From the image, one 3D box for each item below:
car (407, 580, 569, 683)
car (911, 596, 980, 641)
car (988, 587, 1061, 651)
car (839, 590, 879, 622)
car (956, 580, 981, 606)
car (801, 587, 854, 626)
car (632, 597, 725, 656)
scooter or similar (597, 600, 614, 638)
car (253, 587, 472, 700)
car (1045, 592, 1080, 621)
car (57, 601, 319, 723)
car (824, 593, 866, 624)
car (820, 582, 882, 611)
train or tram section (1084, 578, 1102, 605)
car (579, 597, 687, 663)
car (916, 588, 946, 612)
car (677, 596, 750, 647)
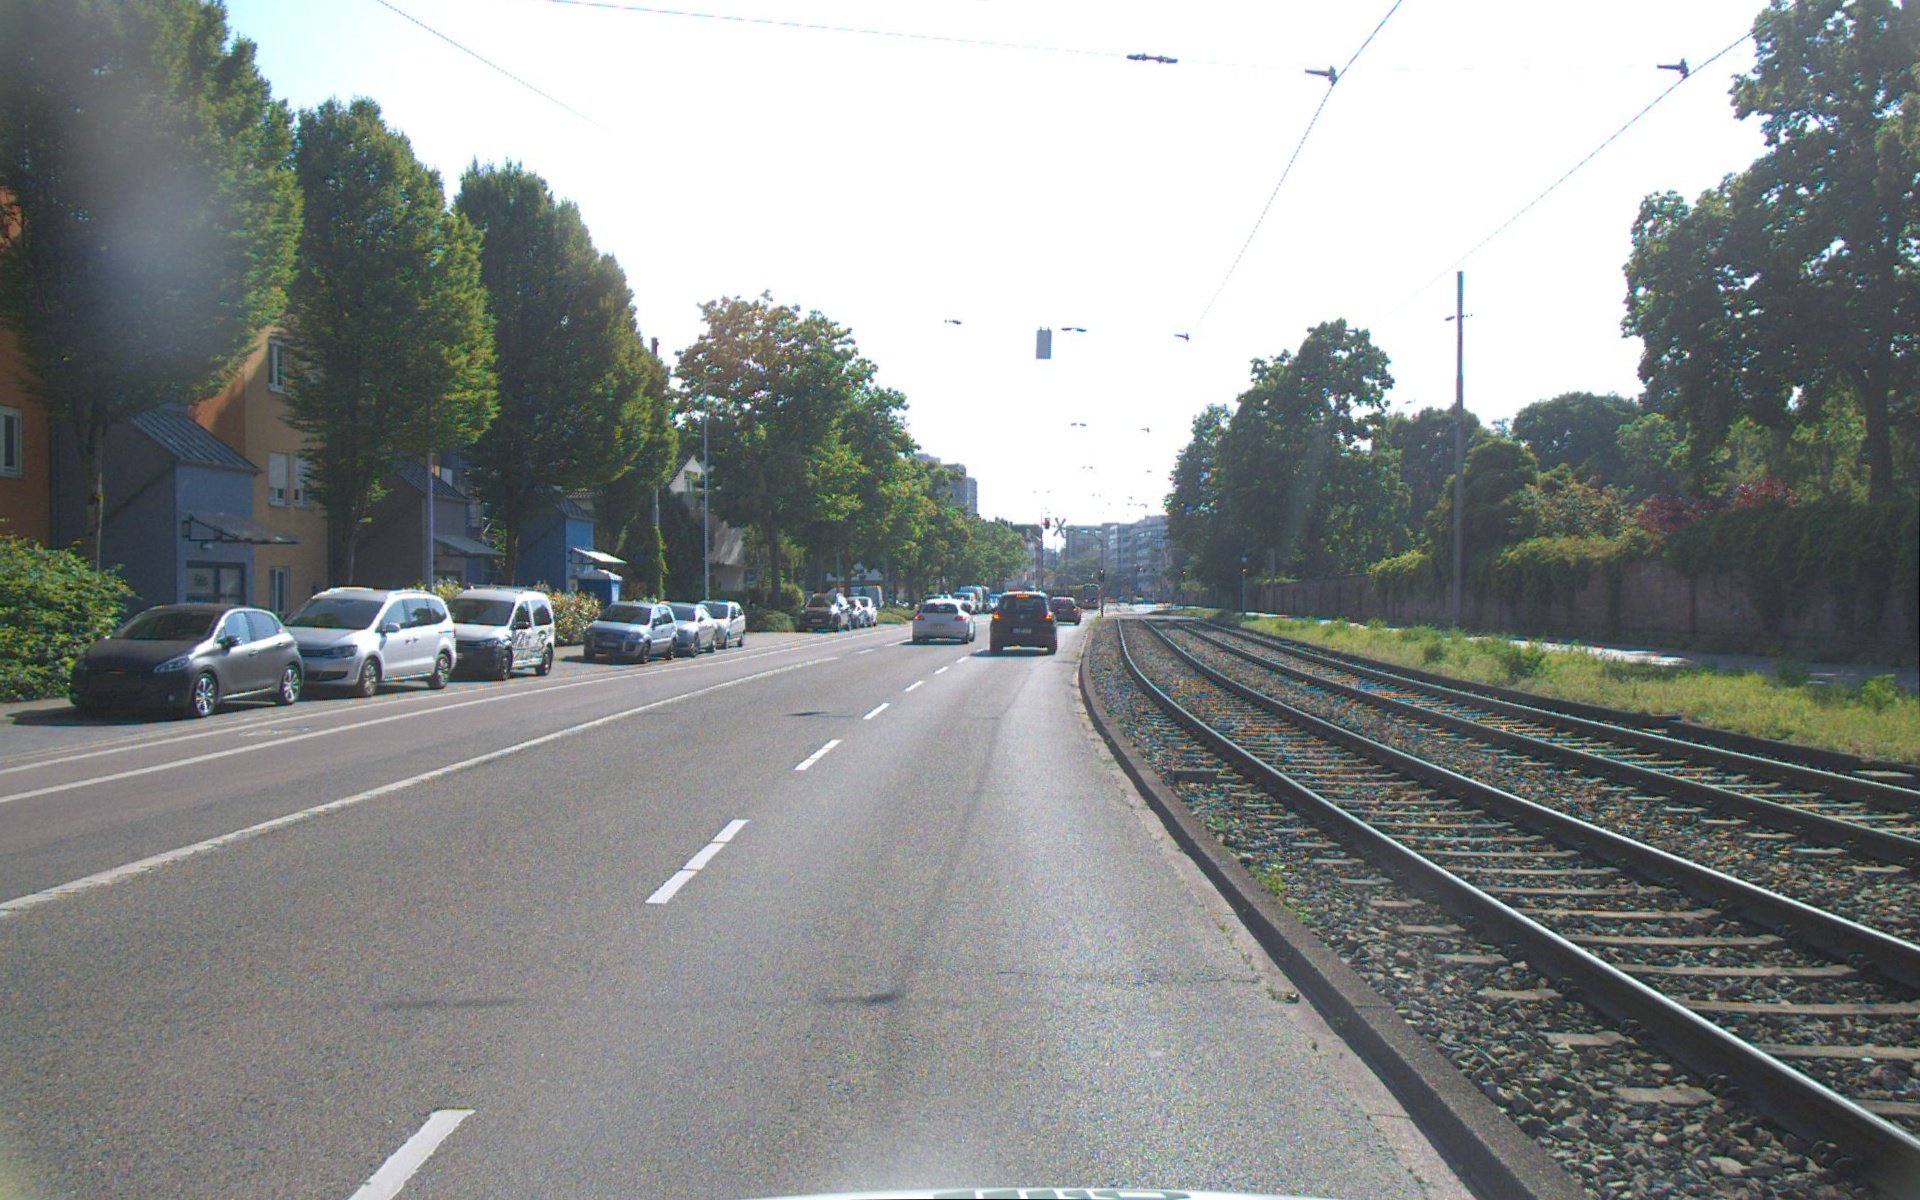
[{"bbox_3d":[-9.814,0.605,34.777,1.726,1.877,4.582,4,1,3],"label":"car"},{"bbox_3d":[-0.434,0.569,53.036,1.825,1.371,4.003,0,0,5],"label":"car"},{"bbox_3d":[1.821,0.489,45.539,1.773,1.673,4.002,0,0,5],"label":"car"},{"bbox_3d":[-5.334,0.299,87.646,1.567,1.577,3.896,1,0,4],"label":"car"},{"bbox_3d":[0.819,-0.673,154.681,1.824,2.388,4.988,-1,0,7],"label":"car"},{"bbox_3d":[-6.087,0.275,76.439,1.676,1.723,4.425,0,0,5],"label":"car"},{"bbox_3d":[-8.385,0.760,49.681,1.713,1.537,4.757,4,1,2],"label":"car"},{"bbox_3d":[-11.126,0.594,51.922,0.287,1.174,1.043,-1,0,1],"label":"scooter or similar"},{"bbox_3d":[-10.137,0.668,28.490,1.633,1.730,4.827,2,0,5],"label":"car"},{"bbox_3d":[5.546,0.358,88.928,1.773,1.474,4.002,1,0,5],"label":"car"},{"bbox_3d":[-10.665,0.792,23.188,1.582,1.491,4.060,1,0,3],"label":"car"},{"bbox_3d":[-5.686,0.384,82.133,1.642,1.494,3.970,0,0,3],"label":"car"},{"bbox_3d":[-9.748,-0.333,148.802,5.262,2.466,2.089,-1,0,5],"label":"car"},{"bbox_3d":[18.975,-1.228,235.690,2.277,3.632,8.906,-1,0,5],"label":"train or tram section"},{"bbox_3d":[-8.785,0.766,44.764,1.726,1.565,3.984,4,1,5],"label":"car"},{"bbox_3d":[-2.158,-0.014,124.953,1.695,1.687,4.003,-1,0,7],"label":"car"},{"bbox_3d":[-8.167,0.679,55.026,1.568,1.520,3.511,4,1,4],"label":"car"}]
